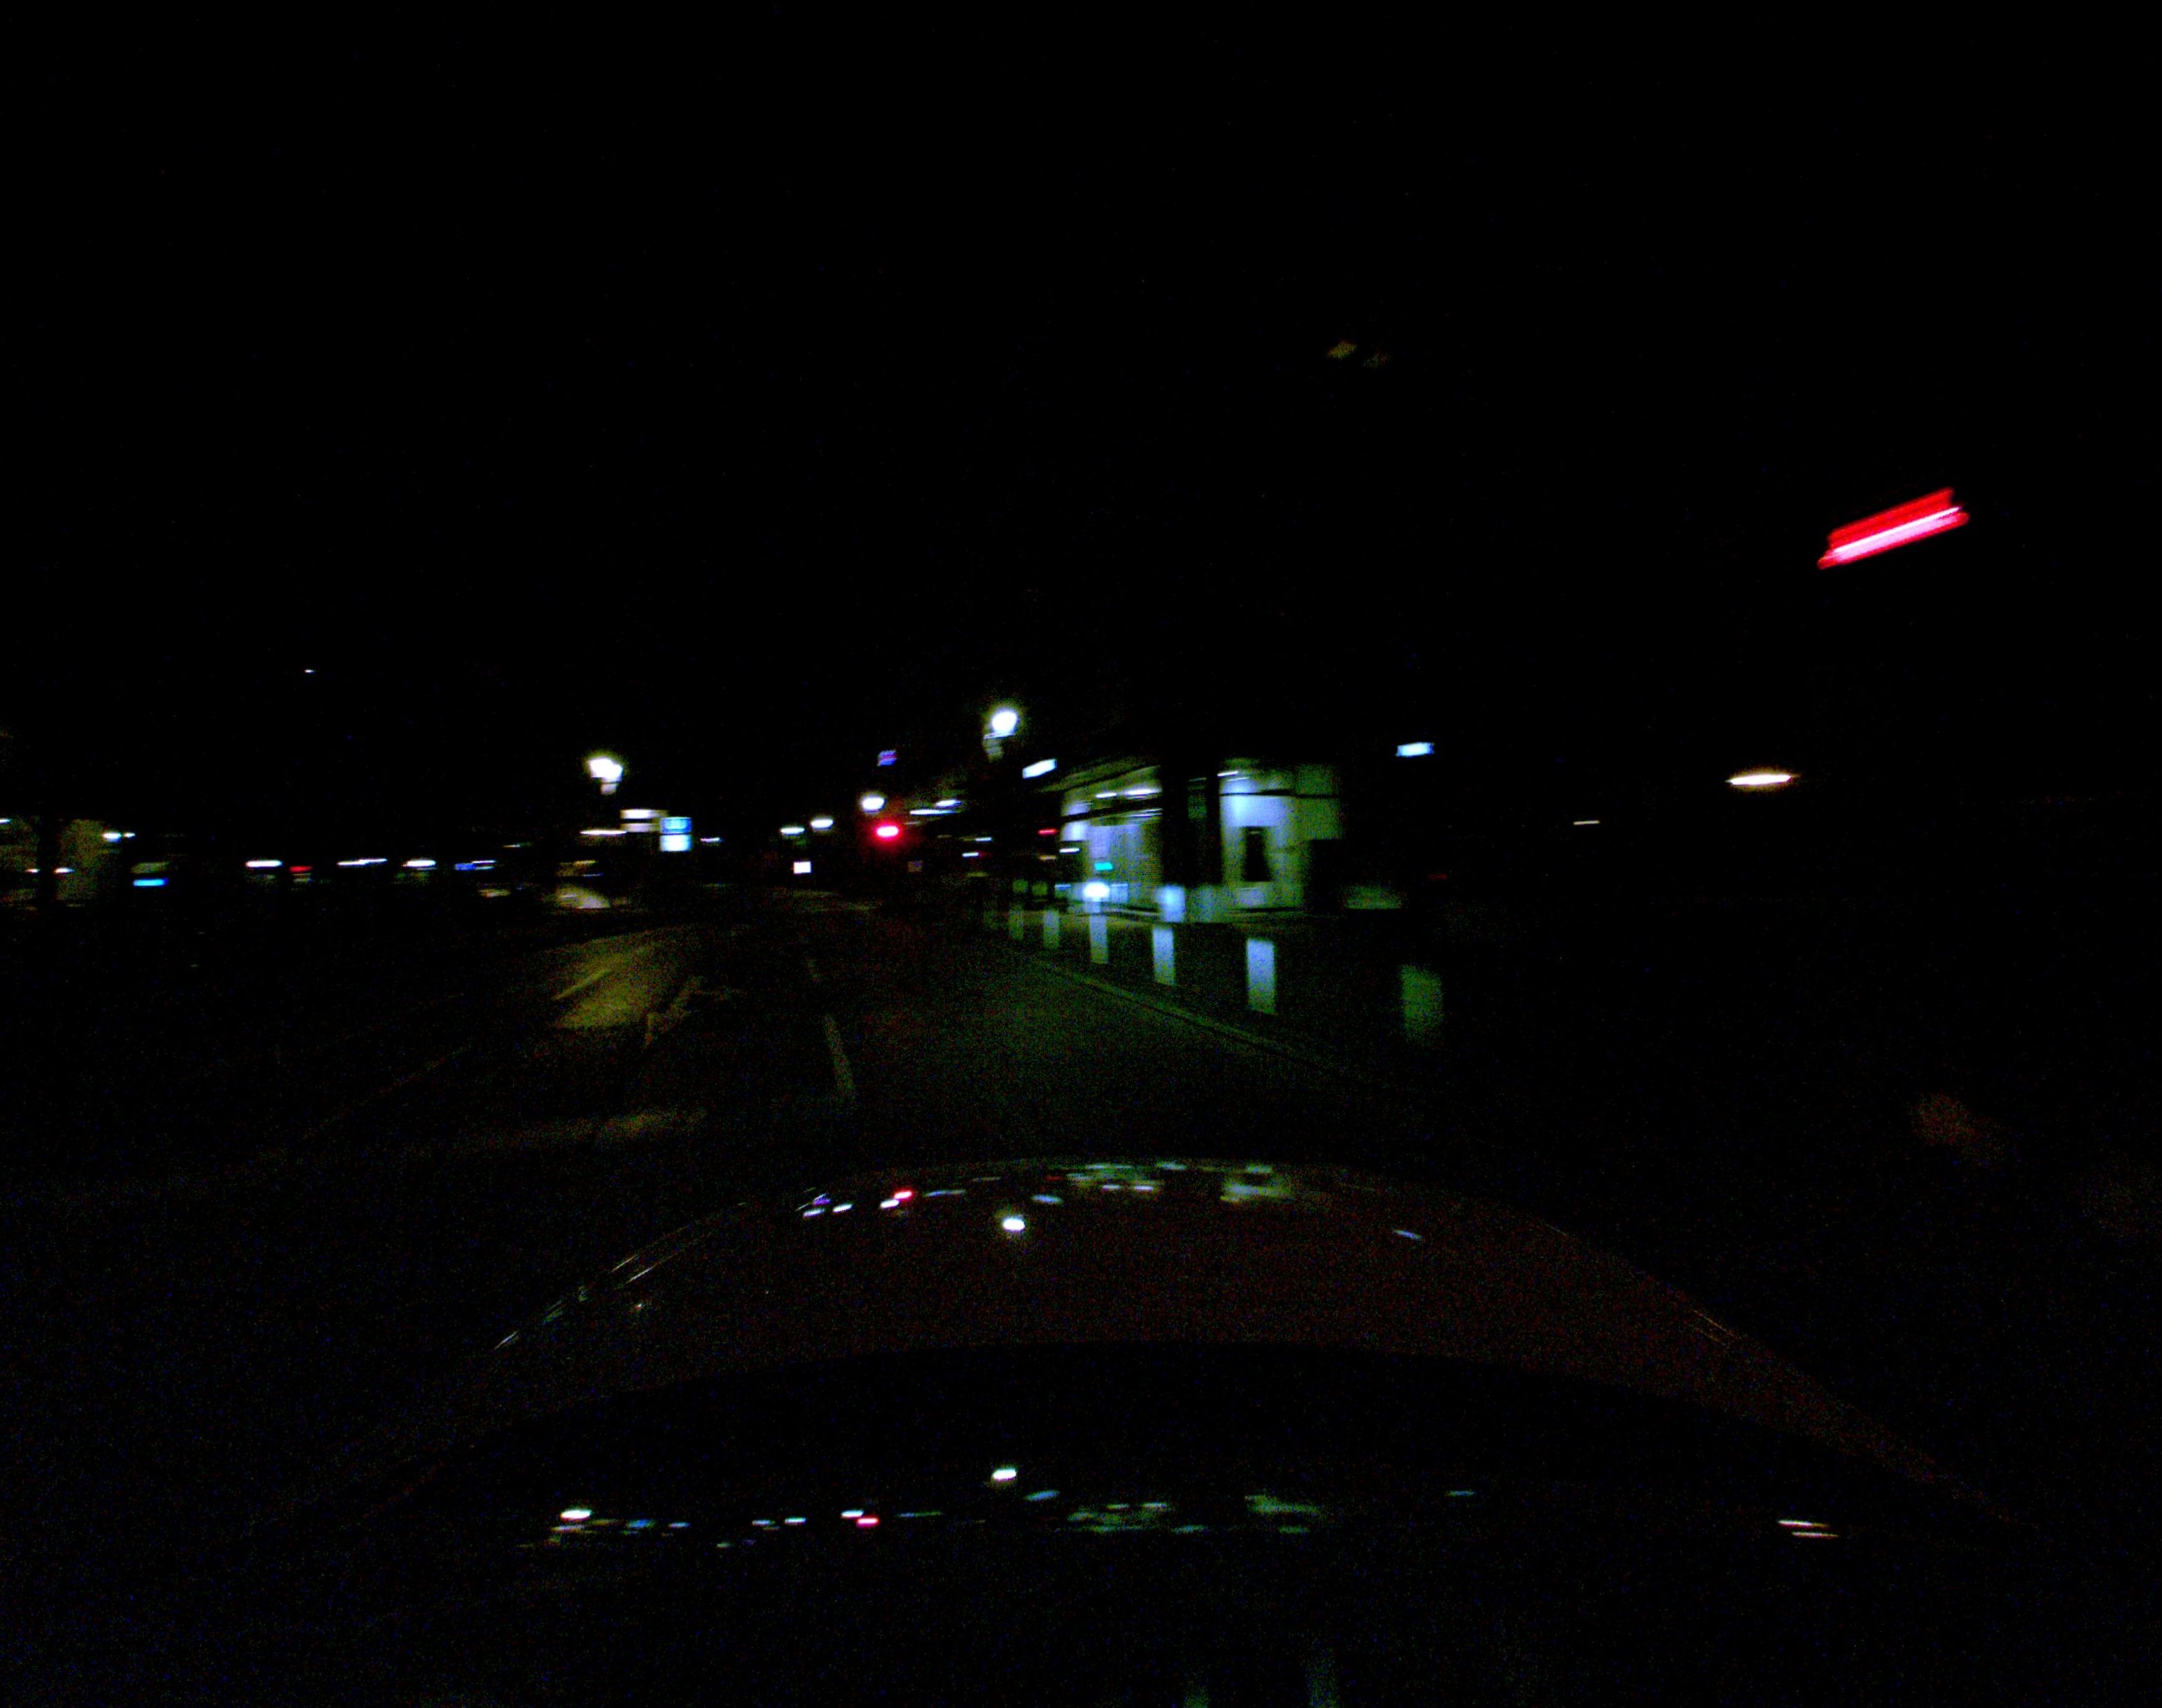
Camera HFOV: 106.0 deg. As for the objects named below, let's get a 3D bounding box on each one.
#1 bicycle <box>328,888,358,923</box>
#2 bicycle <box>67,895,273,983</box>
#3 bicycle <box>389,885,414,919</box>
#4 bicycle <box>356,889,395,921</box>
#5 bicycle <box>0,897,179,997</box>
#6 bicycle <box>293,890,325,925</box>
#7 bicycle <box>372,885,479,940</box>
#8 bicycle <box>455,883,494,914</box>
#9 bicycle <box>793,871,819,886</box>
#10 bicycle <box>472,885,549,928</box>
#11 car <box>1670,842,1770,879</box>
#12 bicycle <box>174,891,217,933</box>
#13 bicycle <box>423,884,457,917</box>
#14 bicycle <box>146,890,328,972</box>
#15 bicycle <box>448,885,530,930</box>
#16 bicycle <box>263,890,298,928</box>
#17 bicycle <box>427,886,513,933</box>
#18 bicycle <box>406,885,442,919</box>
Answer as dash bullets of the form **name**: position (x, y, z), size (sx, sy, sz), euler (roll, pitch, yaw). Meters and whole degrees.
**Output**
- **bicycle**: position (-26.224, 1.816, 28.964), size (0.612, 1.125, 1.727), euler (-2, 1, -37)
- **bicycle**: position (-12.759, 1.174, 11.479), size (1.737, 1.157, 0.783), euler (1, -2, -15)
- **bicycle**: position (-25.556, 1.789, 30.651), size (0.612, 1.165, 1.727), euler (-2, 1, -37)
- **bicycle**: position (-25.661, 1.844, 29.610), size (1.724, 1.069, 0.613), euler (-1, 1, 34)
- **bicycle**: position (-12.660, 1.126, 10.062), size (1.837, 1.157, 0.783), euler (1, -2, -15)
- **bicycle**: position (-26.972, 1.853, 28.468), size (0.612, 1.100, 1.727), euler (-2, 1, -37)
- **bicycle**: position (-15.071, 1.328, 18.768), size (1.775, 1.164, 0.665), euler (-1, -1, -20)
- **bicycle**: position (-23.936, 1.750, 32.150), size (1.724, 1.162, 0.766), euler (-1, 1, 38)
- **bicycle**: position (-20.576, 1.817, 60.969), size (1.765, 1.062, 0.647), euler (-1, 0, -45)
- **bicycle**: position (-15.888, 1.444, 22.708), size (1.621, 1.106, 0.665), euler (-1, -2, -20)
- **car**: position (28.430, 0.264, 36.216), size (4.007, 1.451, 1.908), euler (-2, 1, -26)
- **bicycle**: position (-28.536, 1.837, 26.258), size (0.612, 1.218, 1.727), euler (-2, 1, -37)
- **bicycle**: position (-24.401, 1.752, 30.988), size (1.724, 1.165, 0.613), euler (-1, 1, 38)
- **bicycle**: position (-12.869, 1.157, 12.477), size (1.737, 1.166, 0.783), euler (1, -1, -15)
- **bicycle**: position (-15.643, 1.402, 21.541), size (1.621, 1.106, 0.665), euler (-1, -2, -20)
- **bicycle**: position (-27.205, 1.854, 27.689), size (0.612, 1.165, 1.727), euler (-2, 1, -37)
- **bicycle**: position (-15.555, 1.396, 20.776), size (1.621, 1.106, 0.665), euler (-1, -2, -20)
- **bicycle**: position (-24.320, 1.762, 30.140), size (1.724, 1.165, 0.613), euler (-1, 1, 38)
